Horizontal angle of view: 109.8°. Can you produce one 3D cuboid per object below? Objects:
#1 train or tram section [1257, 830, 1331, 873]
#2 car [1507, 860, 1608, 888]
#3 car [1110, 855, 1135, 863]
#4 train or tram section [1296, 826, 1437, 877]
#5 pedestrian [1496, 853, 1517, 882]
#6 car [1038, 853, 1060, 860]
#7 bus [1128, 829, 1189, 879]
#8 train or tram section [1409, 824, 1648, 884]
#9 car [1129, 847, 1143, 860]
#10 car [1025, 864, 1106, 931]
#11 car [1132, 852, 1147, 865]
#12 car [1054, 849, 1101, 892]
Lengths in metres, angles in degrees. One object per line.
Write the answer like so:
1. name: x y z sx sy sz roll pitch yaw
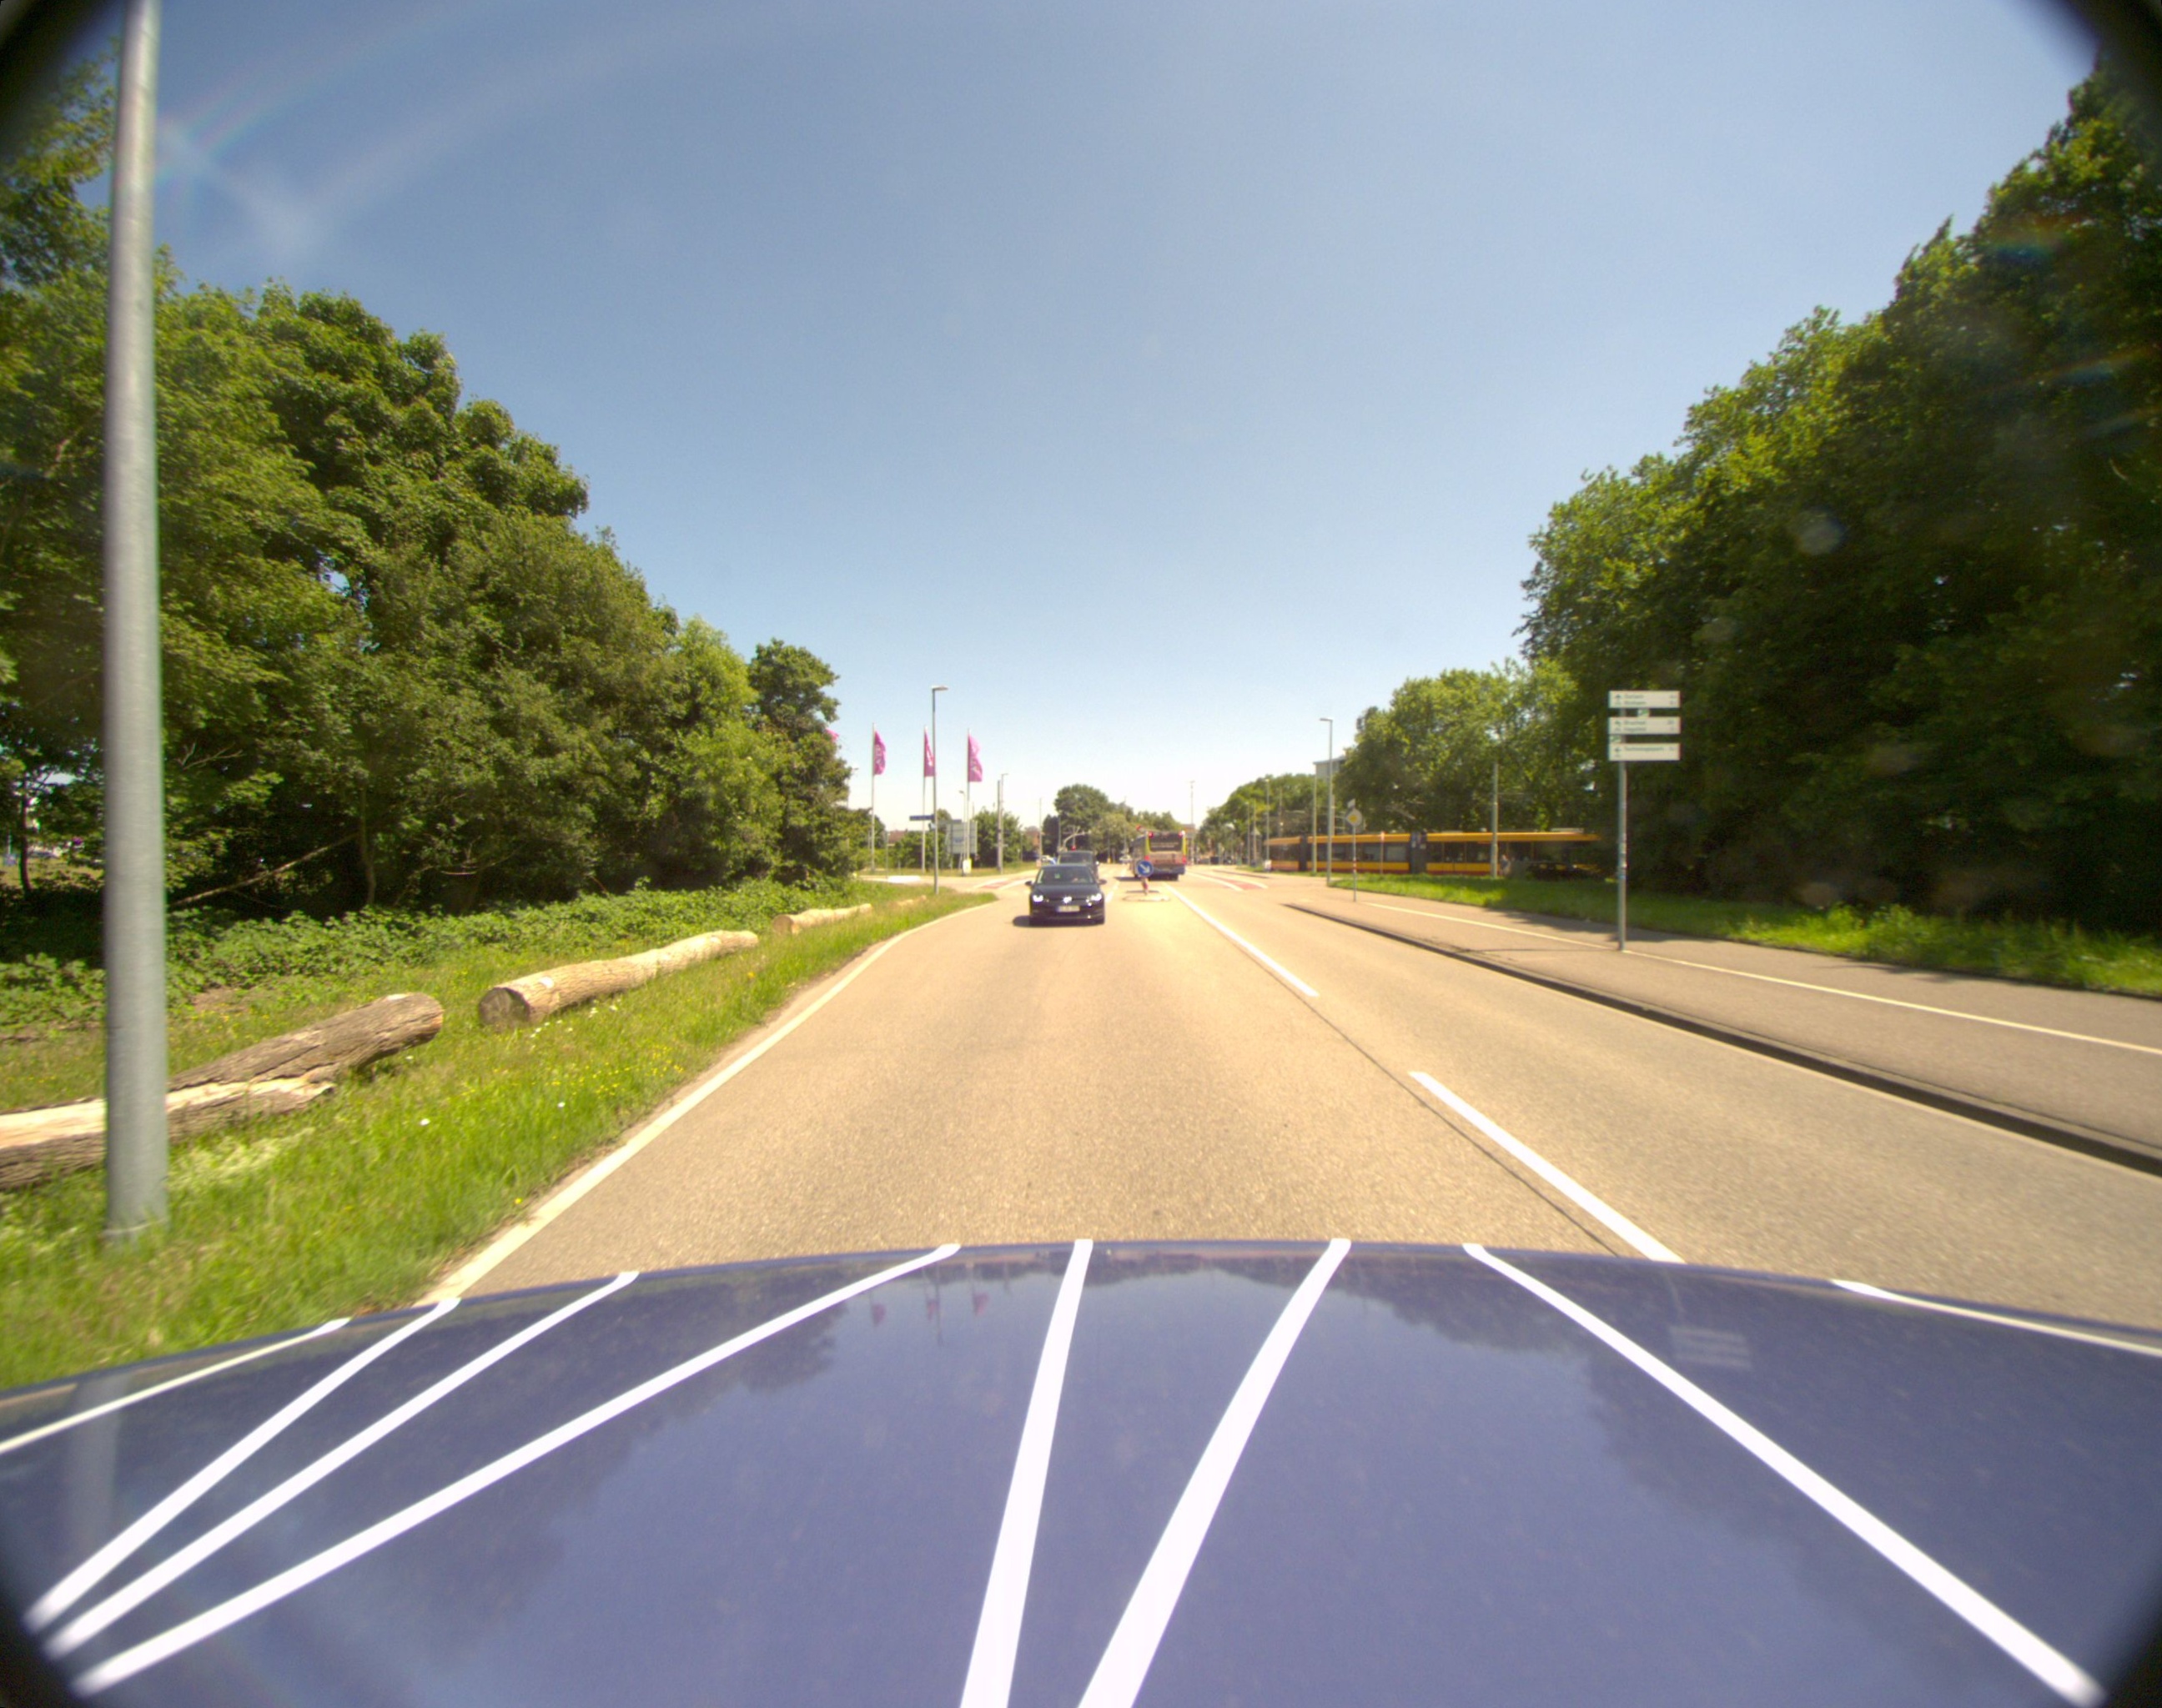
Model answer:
1. train or tram section: 20.176 -0.204 73.116 3.024 3.737 12.991 1 0 -2
2. car: 25.908 1.071 41.443 4.305 1.409 1.668 0 2 13
3. car: 7.933 0.907 144.262 4.399 1.566 1.879 0 -1 35
4. train or tram section: 22.916 -0.197 62.102 3.031 3.737 11.590 1 0 -28
5. pedestrian: 25.765 0.802 46.006 0.811 1.699 0.853 0 0 -39
6. car: -6.888 0.503 161.649 4.399 1.566 1.879 0 -1 35
7. bus: 5.174 -0.013 53.268 2.757 3.027 11.936 2 0 -1
8. train or tram section: 30.777 -0.085 53.080 14.006 3.737 3.033 1 0 36
9. car: 7.239 -0.078 100.179 1.816 1.713 4.832 -1 0 4
10. car: -0.271 0.995 18.817 1.708 1.396 4.054 -1 0 3
11. car: 7.067 0.524 92.282 1.727 1.454 3.991 -1 0 4
12. car: -0.096 0.738 36.351 1.941 1.920 4.847 -1 0 3
